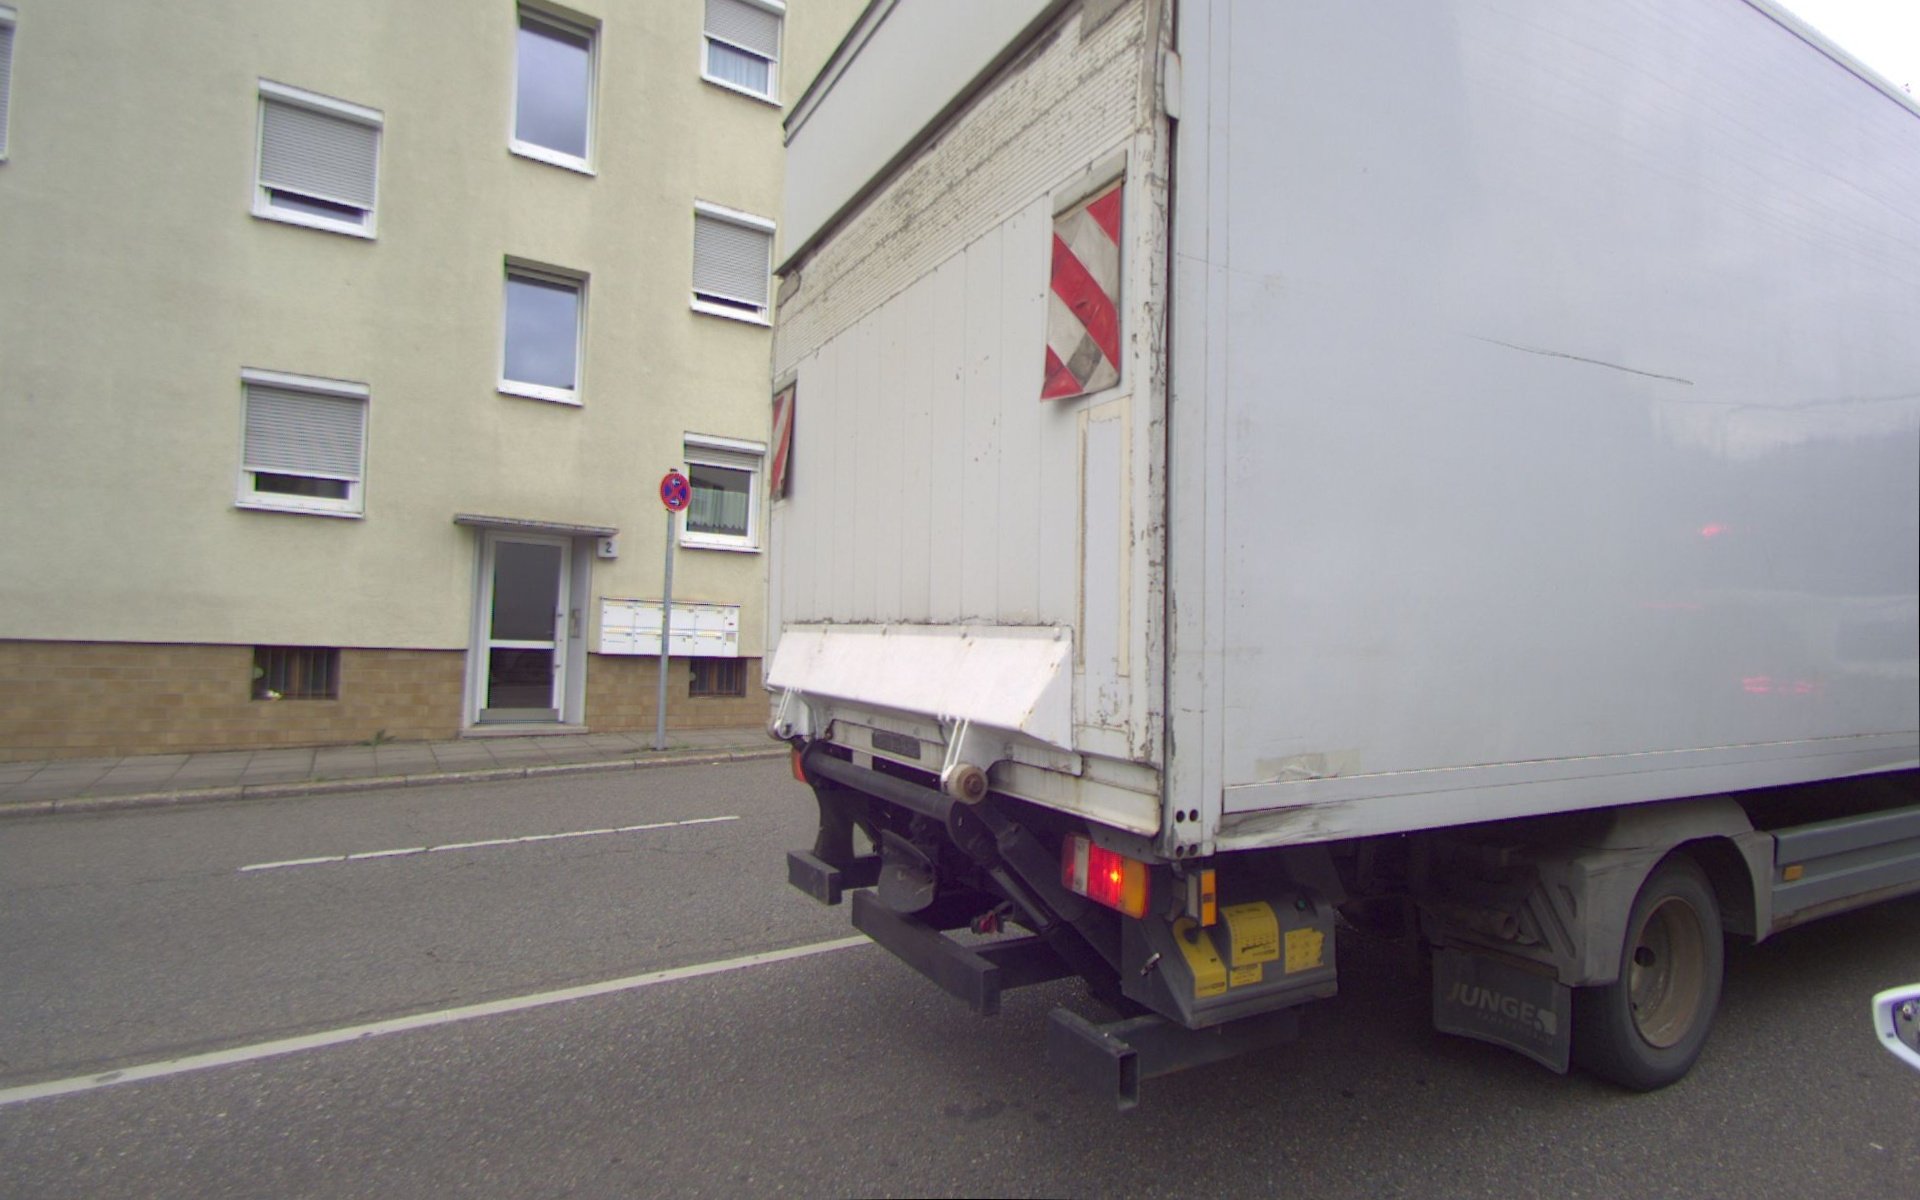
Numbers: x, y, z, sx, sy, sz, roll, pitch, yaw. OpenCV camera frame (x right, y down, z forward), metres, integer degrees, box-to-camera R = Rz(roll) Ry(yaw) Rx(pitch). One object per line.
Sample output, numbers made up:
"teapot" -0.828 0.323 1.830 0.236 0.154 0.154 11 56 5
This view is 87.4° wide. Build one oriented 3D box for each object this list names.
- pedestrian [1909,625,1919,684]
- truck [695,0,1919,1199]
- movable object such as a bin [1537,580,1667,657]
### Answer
"pedestrian" 26.081 1.481 27.064 0.480 1.588 0.586 2 1 -30
"truck" 3.034 -0.263 4.949 7.967 3.623 2.756 1 0 -30
"movable object such as a bin" 16.574 0.470 25.864 3.972 1.795 1.884 1 1 -43
